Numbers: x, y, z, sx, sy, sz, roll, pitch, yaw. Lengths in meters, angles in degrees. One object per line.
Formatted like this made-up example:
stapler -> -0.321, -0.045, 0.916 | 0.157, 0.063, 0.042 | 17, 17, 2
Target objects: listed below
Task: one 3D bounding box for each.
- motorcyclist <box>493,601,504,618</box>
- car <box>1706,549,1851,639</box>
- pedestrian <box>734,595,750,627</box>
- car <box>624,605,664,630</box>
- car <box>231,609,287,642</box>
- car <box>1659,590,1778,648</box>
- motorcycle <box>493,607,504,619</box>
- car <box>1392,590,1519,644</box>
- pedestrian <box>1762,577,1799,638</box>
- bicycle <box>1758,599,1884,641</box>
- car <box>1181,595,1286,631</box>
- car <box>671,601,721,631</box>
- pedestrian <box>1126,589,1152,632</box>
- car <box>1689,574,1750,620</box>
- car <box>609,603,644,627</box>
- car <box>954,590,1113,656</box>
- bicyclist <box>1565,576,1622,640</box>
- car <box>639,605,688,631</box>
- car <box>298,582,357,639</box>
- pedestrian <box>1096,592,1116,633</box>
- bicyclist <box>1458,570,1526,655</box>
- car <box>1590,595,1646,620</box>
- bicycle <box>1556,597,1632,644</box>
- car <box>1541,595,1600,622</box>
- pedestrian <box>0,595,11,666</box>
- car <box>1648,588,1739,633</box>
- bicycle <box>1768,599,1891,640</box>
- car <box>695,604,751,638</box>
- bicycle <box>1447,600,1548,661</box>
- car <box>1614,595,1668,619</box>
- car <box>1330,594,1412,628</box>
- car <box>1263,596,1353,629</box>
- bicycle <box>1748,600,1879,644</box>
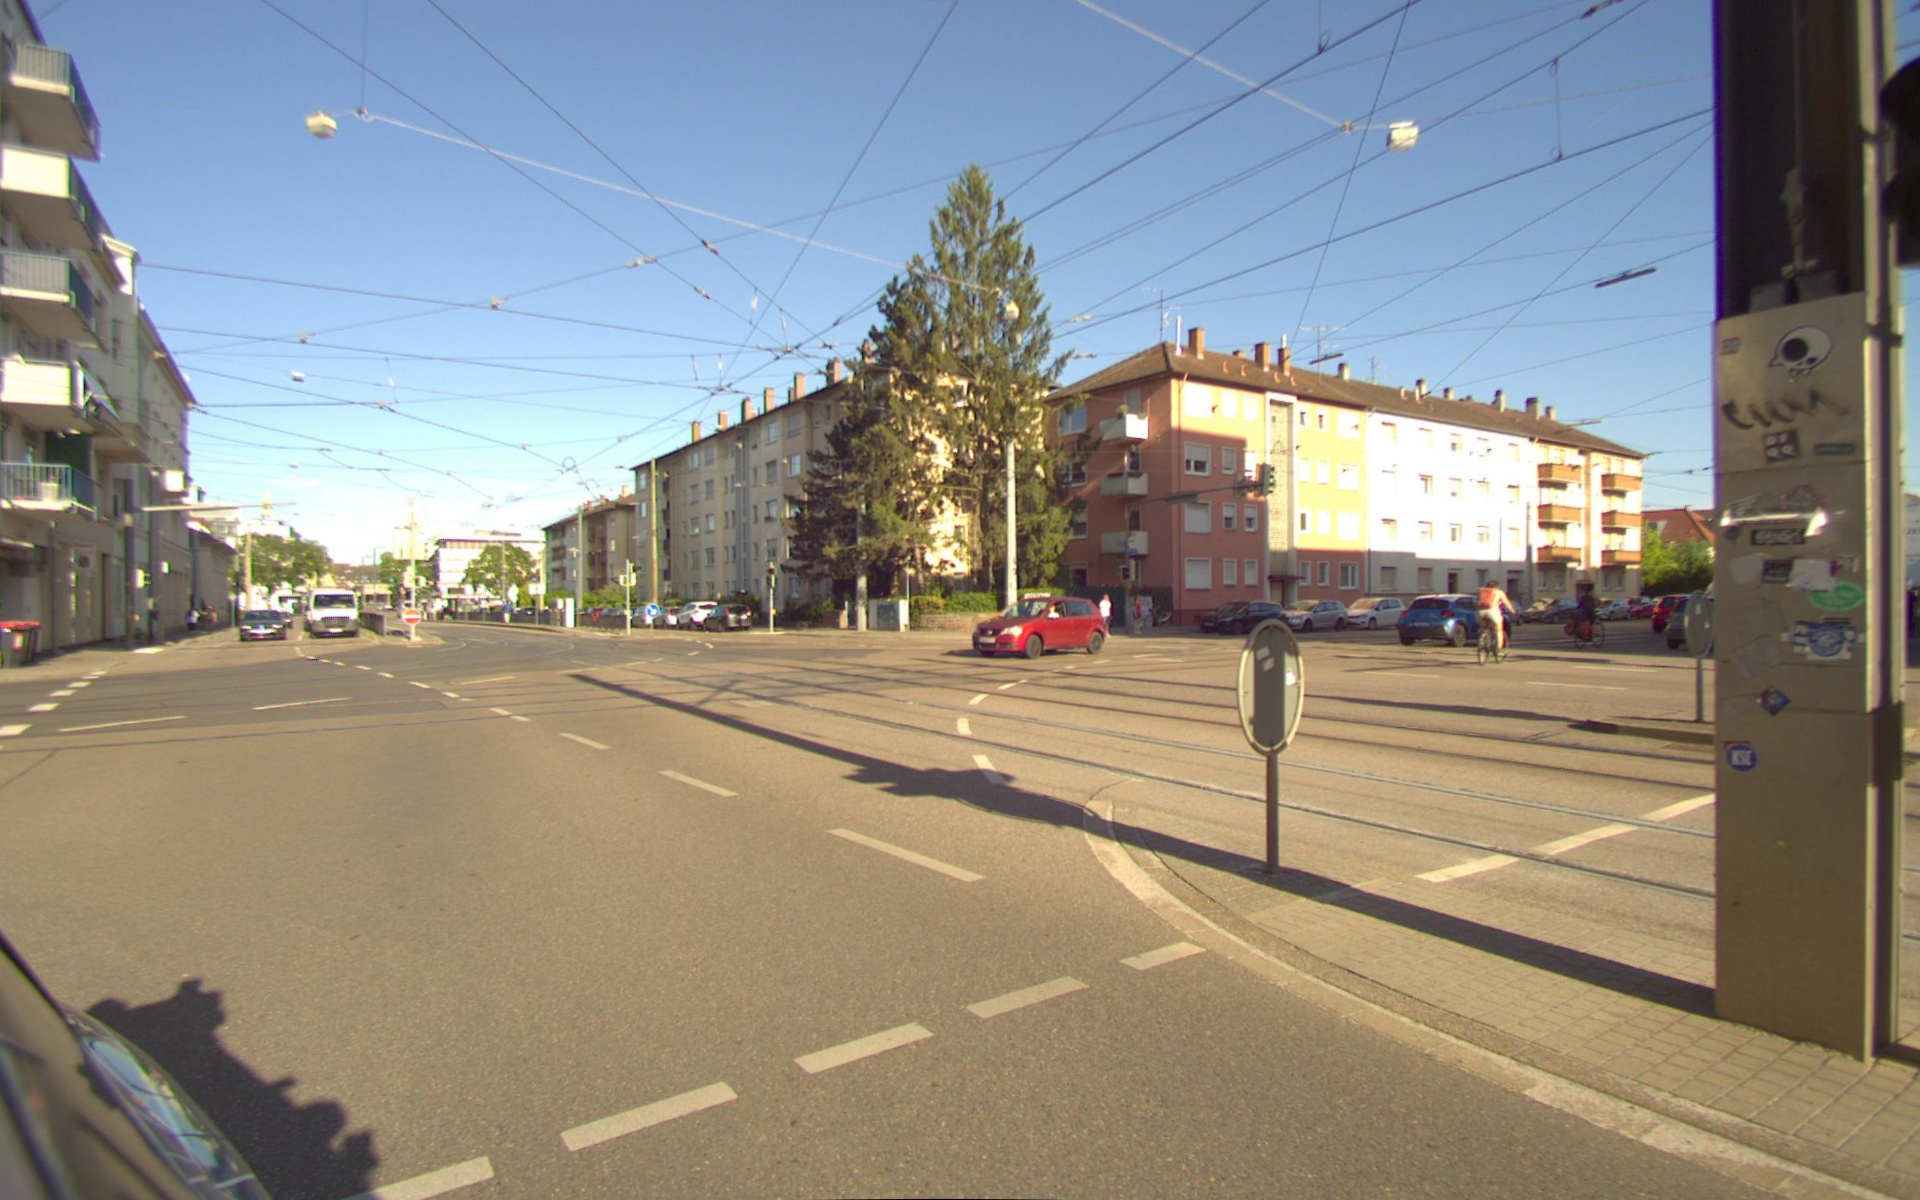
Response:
motorcyclist -> -43.779, 0.895, 95.991 | 0.843, 1.499, 0.731 | 0, 1, -29
car -> 24.858, -0.199, 30.688 | 4.926, 2.500, 2.278 | 0, 1, -37
pedestrian -> -13.067, 0.634, 60.716 | 0.688, 1.900, 0.783 | 0, 1, -31
car -> -21.916, 1.175, 70.117 | 1.634, 1.569, 3.799 | 0, 2, -34
car -> -32.377, 1.168, 46.816 | 1.852, 1.424, 3.941 | 0, -1, -31
car -> 20.879, 0.476, 27.809 | 3.826, 1.442, 1.666 | 0, 2, -38
motorcycle -> -43.785, 1.260, 95.994 | 0.843, 1.054, 1.948 | 0, 2, -29
car -> 14.387, 0.446, 29.355 | 3.601, 1.463, 1.747 | 0, 1, -34
pedestrian -> 23.018, 0.199, 28.386 | 0.660, 1.666, 0.616 | 0, 2, -37
bicycle -> 21.583, 0.512, 25.412 | 0.842, 1.009, 2.263 | 0, -2, -37
car -> 12.044, 0.581, 44.471 | 4.368, 1.442, 2.166 | 2, 0, -37
car -> -15.908, 0.926, 60.863 | 1.743, 1.610, 4.044 | 0, 2, -34
pedestrian -> 7.319, 0.415, 41.387 | 0.783, 1.734, 0.696 | 2, 2, 36
car -> 53.567, -0.249, 71.368 | 3.430, 3.165, 2.432 | 0, 2, -35
car -> -24.346, 1.076, 73.806 | 1.534, 1.537, 3.656 | 0, 2, -34
car -> 1.856, 0.521, 24.794 | 3.770, 1.497, 1.787 | 0, -1, -42
bicyclist -> 17.320, 0.200, 27.670 | 1.061, 1.685, 0.946 | 0, 2, -33
car -> -19.209, 1.113, 65.396 | 1.804, 1.489, 4.043 | 0, 2, -35
car -> -30.371, 0.446, 48.674 | 2.302, 2.536, 4.870 | 0, 2, -31
pedestrian -> 5.737, 0.481, 39.870 | 0.564, 1.580, 0.519 | 0, 2, -35
bicyclist -> 10.904, 0.244, 20.763 | 0.919, 1.704, 0.816 | 0, 1, -28
car -> 43.616, 0.481, 67.107 | 3.935, 1.588, 1.880 | 0, 2, -38
bicycle -> 17.347, 0.537, 27.681 | 2.059, 1.233, 0.946 | 0, 2, -33
car -> 38.575, 0.491, 63.926 | 3.935, 1.588, 1.880 | 0, 2, -38
pedestrian -> -22.818, 0.693, 23.510 | 0.749, 1.664, 0.701 | 1, -4, -3
car -> 28.142, 0.362, 38.806 | 3.701, 1.533, 1.795 | -1, 2, -37
bicycle -> 22.420, 0.511, 26.140 | 0.842, 1.009, 2.263 | 0, -2, -37
car -> -13.189, 1.140, 56.226 | 1.840, 1.640, 4.085 | 0, 2, -31
bicycle -> 11.095, 0.608, 20.870 | 2.028, 1.190, 0.816 | 0, 2, -28
car -> 47.230, 0.457, 70.163 | 3.935, 1.588, 1.880 | 0, 2, -38
car -> 20.330, 0.515, 50.020 | 4.160, 1.537, 1.752 | 0, 2, -36
car -> 16.299, 0.556, 47.324 | 4.034, 1.447, 1.915 | 0, 2, -34
bicycle -> 20.593, 0.531, 24.455 | 0.842, 1.009, 2.263 | 0, -2, -37
